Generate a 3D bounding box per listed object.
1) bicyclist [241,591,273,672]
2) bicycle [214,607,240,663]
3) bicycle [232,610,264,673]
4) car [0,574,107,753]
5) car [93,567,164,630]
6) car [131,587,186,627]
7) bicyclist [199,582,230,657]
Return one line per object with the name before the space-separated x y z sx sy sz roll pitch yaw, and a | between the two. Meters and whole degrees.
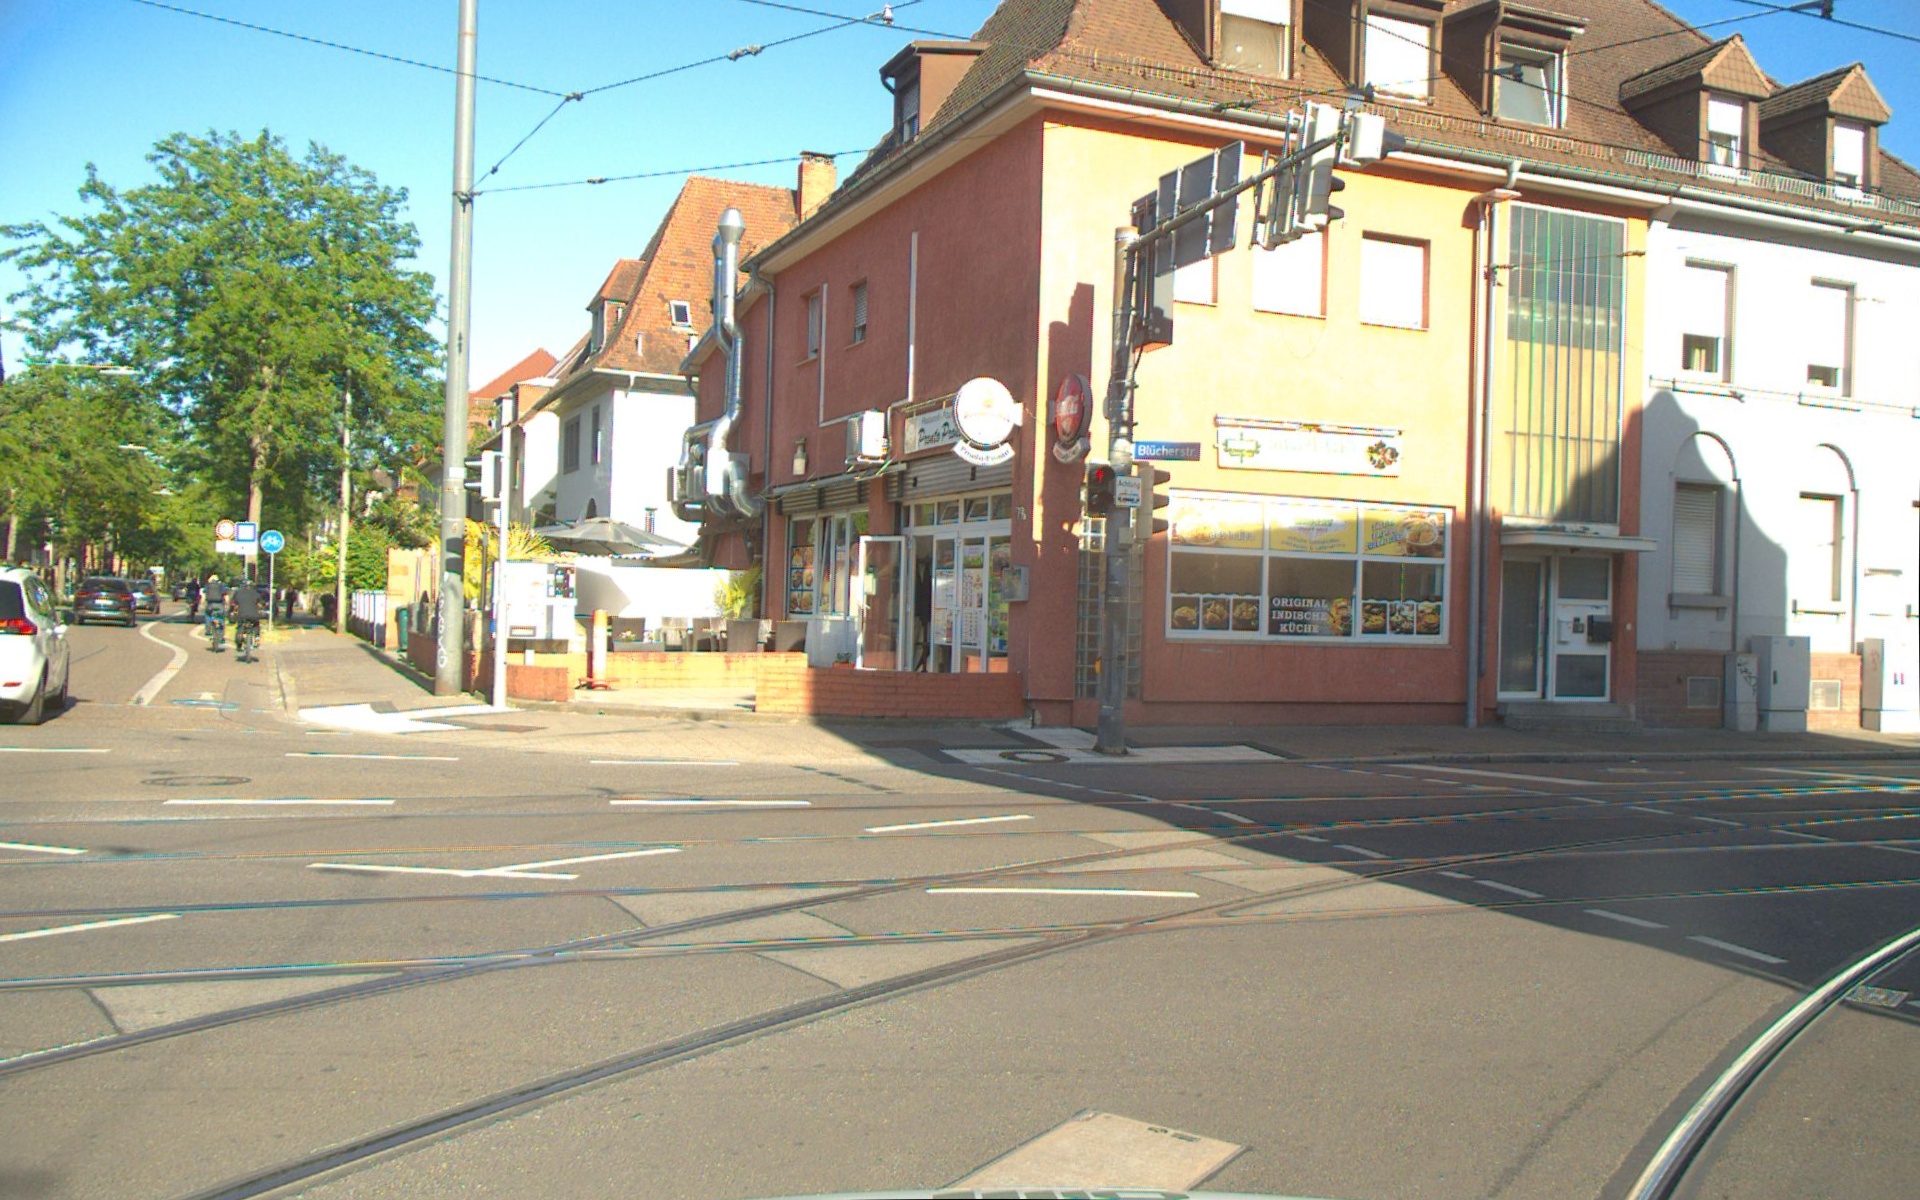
bicyclist | -14.681 0.654 34.543 0.546 1.645 0.681 2 1 -23
bicycle | -16.936 0.802 38.230 0.464 1.209 1.981 2 0 -23
bicycle | -14.820 0.843 34.444 0.550 1.209 1.982 2 0 -23
car | -10.759 0.589 18.359 1.937 1.694 4.217 5 -1 -24
car | -28.402 -0.079 56.464 1.968 1.881 4.212 5 -1 -27
car | -38.479 0.327 79.498 1.964 1.694 4.096 5 -1 -22
bicyclist | -17.295 0.455 38.374 0.600 1.685 0.789 2 1 -24
